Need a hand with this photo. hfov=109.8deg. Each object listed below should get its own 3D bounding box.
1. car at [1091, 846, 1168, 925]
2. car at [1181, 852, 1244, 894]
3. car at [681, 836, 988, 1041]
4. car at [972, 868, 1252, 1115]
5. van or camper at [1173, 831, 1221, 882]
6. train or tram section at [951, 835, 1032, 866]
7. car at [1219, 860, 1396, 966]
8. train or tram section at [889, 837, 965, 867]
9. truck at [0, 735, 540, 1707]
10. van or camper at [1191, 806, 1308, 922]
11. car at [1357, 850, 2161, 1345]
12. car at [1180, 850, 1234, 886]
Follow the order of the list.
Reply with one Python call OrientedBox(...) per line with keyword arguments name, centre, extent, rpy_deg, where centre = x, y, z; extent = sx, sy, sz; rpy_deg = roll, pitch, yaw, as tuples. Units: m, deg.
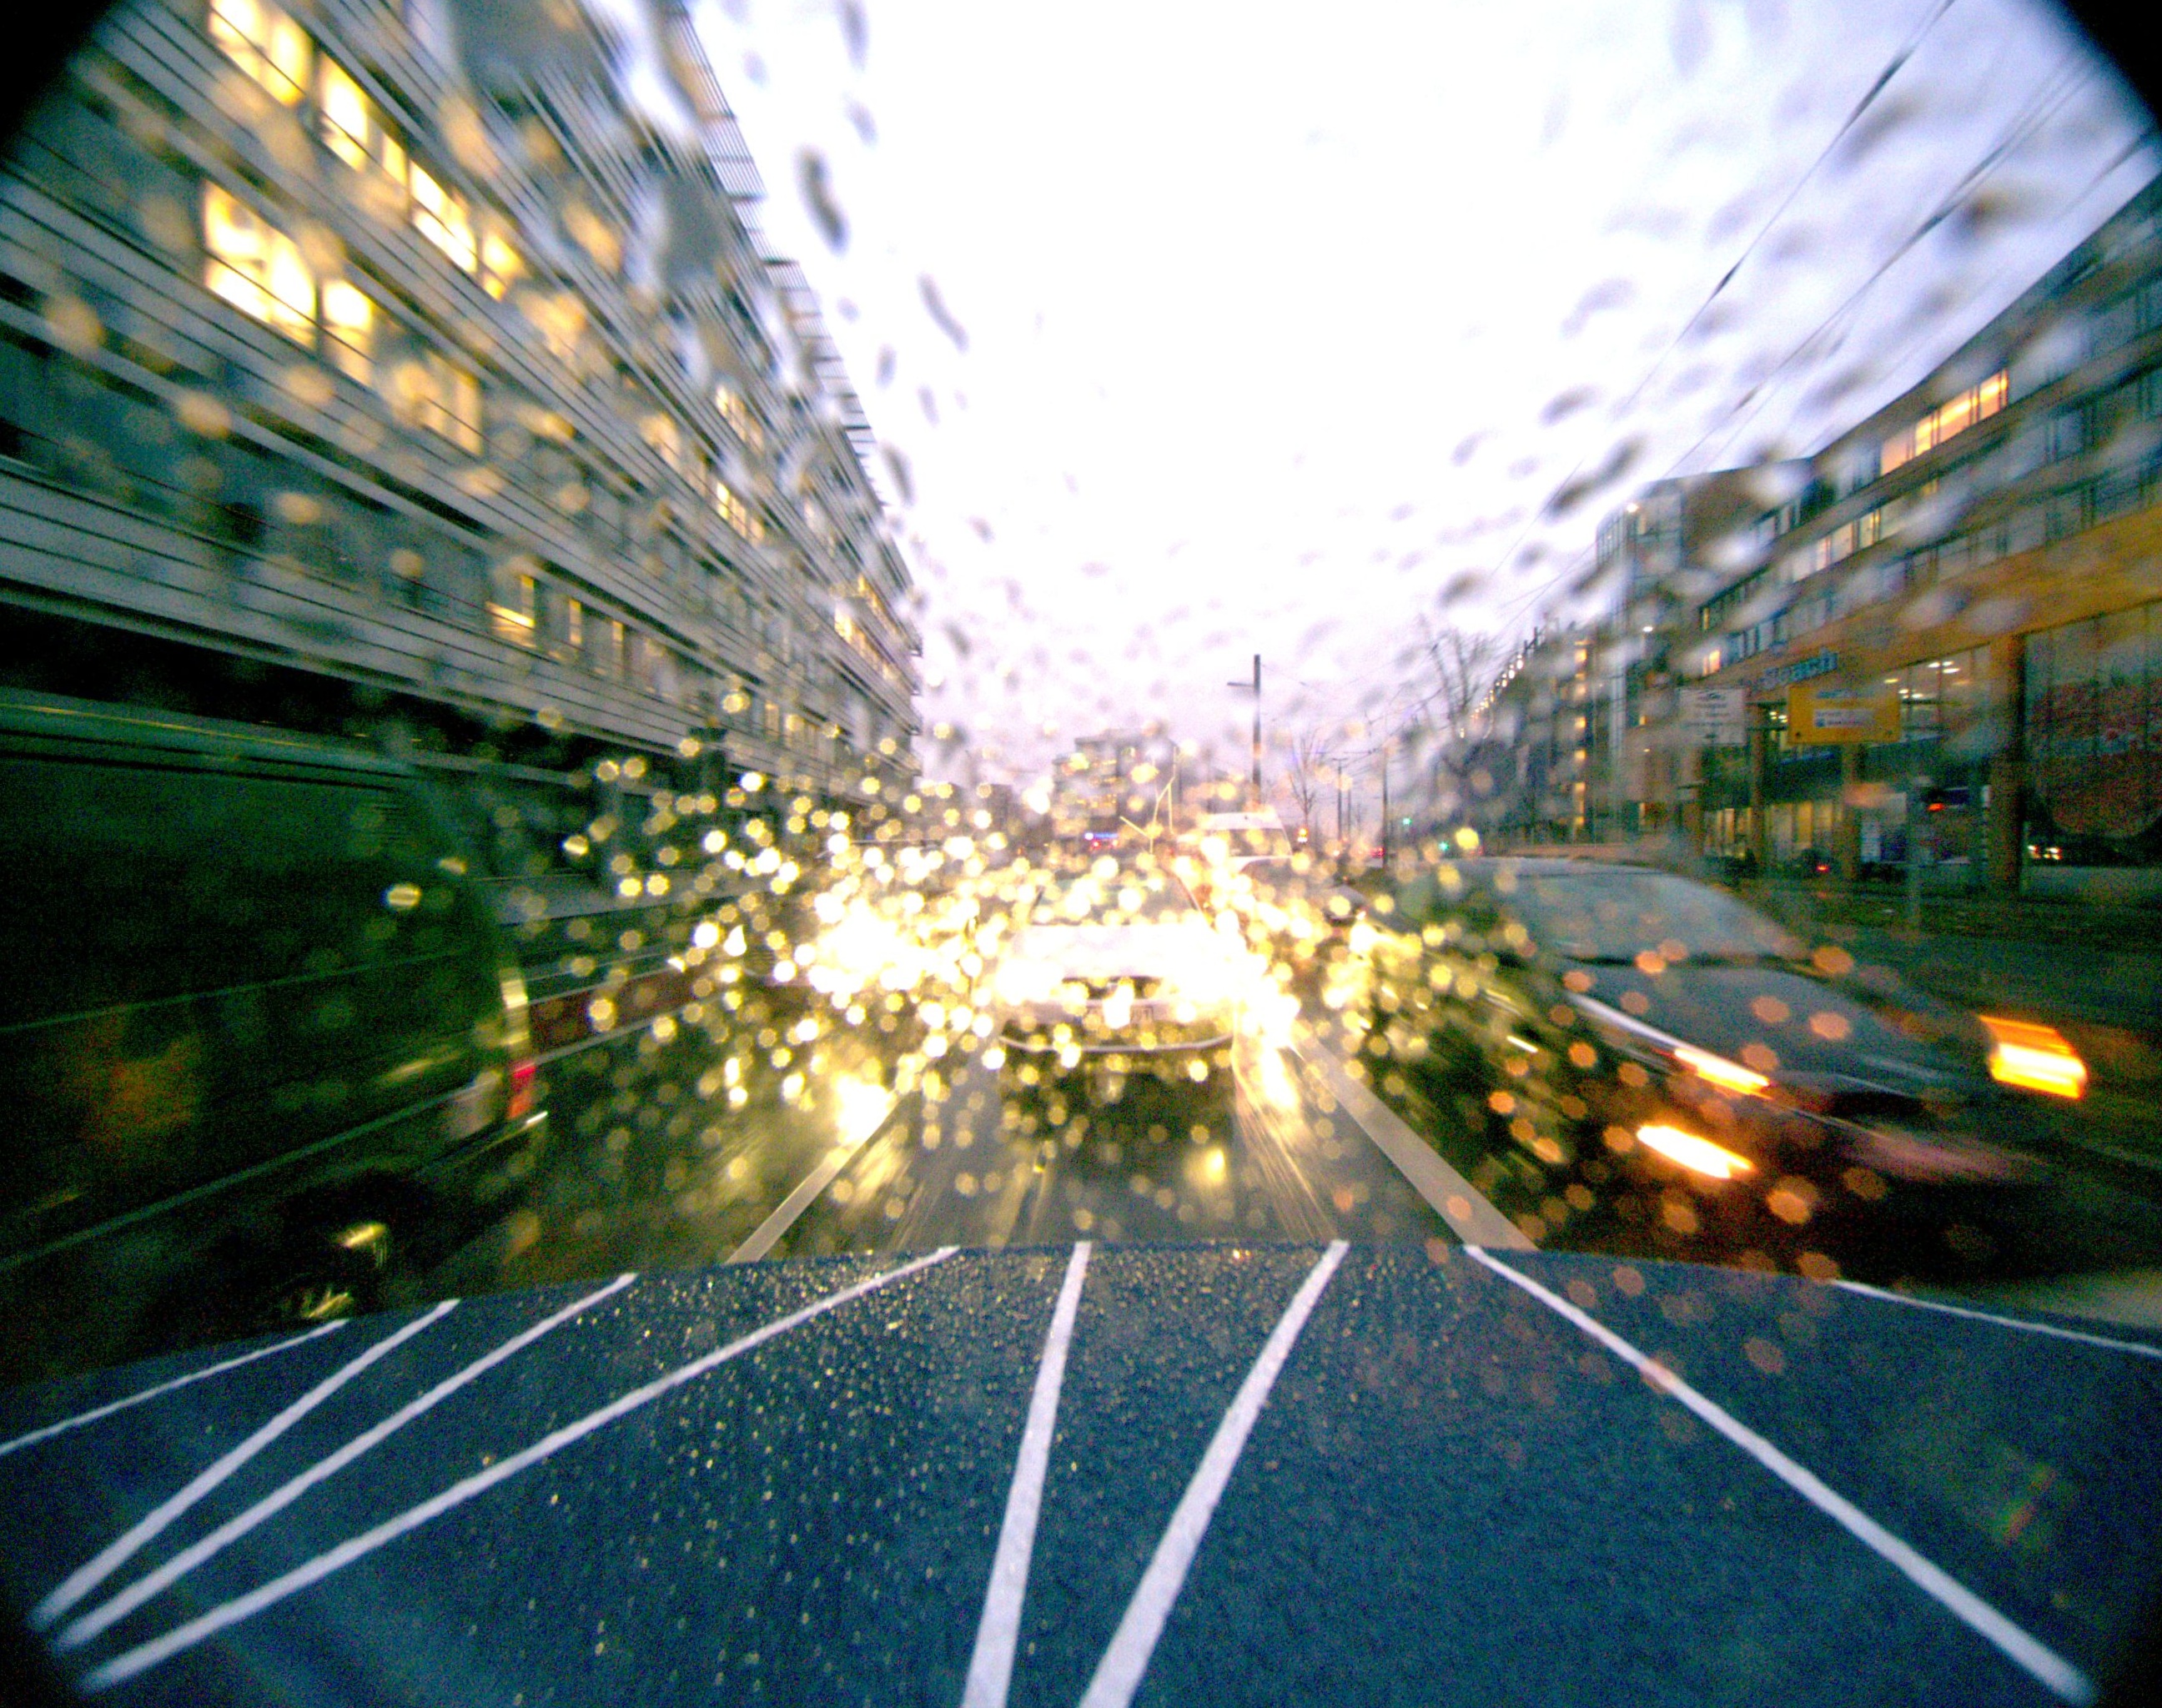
OrientedBox(name="car", centre=(1.209, 0.696, 19.024), extent=(1.684, 1.723, 3.714), rpy_deg=(-2, 0, 3))
OrientedBox(name="car", centre=(4.778, 0.655, 28.159), extent=(1.824, 1.391, 3.953), rpy_deg=(-2, 0, 3))
OrientedBox(name="car", centre=(-2.536, 0.758, 9.246), extent=(1.909, 1.809, 4.689), rpy_deg=(-2, 0, 3))
OrientedBox(name="car", centre=(0.321, 0.945, 7.052), extent=(1.773, 1.449, 4.222), rpy_deg=(-2, 0, 3))
OrientedBox(name="van or camper", centre=(5.822, 0.089, 38.680), extent=(2.184, 2.339, 5.652), rpy_deg=(-2, 0, 7))
OrientedBox(name="train or tram section", centre=(-15.514, -0.637, 132.126), extent=(13.360, 4.832, 3.743), rpy_deg=(-2, 1, 16))
OrientedBox(name="car", centre=(3.460, 0.829, 12.445), extent=(1.824, 1.324, 4.226), rpy_deg=(-2, 0, 3))
OrientedBox(name="train or tram section", centre=(-27.603, -0.286, 136.302), extent=(13.355, 4.905, 3.744), rpy_deg=(-2, 1, 23))
OrientedBox(name="truck", centre=(-2.946, 0.780, 0.297), extent=(1.909, 1.906, 4.617), rpy_deg=(-2, 0, 3))
OrientedBox(name="van or camper", centre=(4.163, 0.180, 19.831), extent=(2.060, 2.533, 5.886), rpy_deg=(-2, 1, 4))
OrientedBox(name="car", centre=(2.988, 0.769, 4.315), extent=(1.684, 1.564, 3.761), rpy_deg=(0, 1, 4))
OrientedBox(name="car", centre=(5.339, 0.559, 32.659), extent=(1.824, 1.391, 3.953), rpy_deg=(-2, 0, 3))
